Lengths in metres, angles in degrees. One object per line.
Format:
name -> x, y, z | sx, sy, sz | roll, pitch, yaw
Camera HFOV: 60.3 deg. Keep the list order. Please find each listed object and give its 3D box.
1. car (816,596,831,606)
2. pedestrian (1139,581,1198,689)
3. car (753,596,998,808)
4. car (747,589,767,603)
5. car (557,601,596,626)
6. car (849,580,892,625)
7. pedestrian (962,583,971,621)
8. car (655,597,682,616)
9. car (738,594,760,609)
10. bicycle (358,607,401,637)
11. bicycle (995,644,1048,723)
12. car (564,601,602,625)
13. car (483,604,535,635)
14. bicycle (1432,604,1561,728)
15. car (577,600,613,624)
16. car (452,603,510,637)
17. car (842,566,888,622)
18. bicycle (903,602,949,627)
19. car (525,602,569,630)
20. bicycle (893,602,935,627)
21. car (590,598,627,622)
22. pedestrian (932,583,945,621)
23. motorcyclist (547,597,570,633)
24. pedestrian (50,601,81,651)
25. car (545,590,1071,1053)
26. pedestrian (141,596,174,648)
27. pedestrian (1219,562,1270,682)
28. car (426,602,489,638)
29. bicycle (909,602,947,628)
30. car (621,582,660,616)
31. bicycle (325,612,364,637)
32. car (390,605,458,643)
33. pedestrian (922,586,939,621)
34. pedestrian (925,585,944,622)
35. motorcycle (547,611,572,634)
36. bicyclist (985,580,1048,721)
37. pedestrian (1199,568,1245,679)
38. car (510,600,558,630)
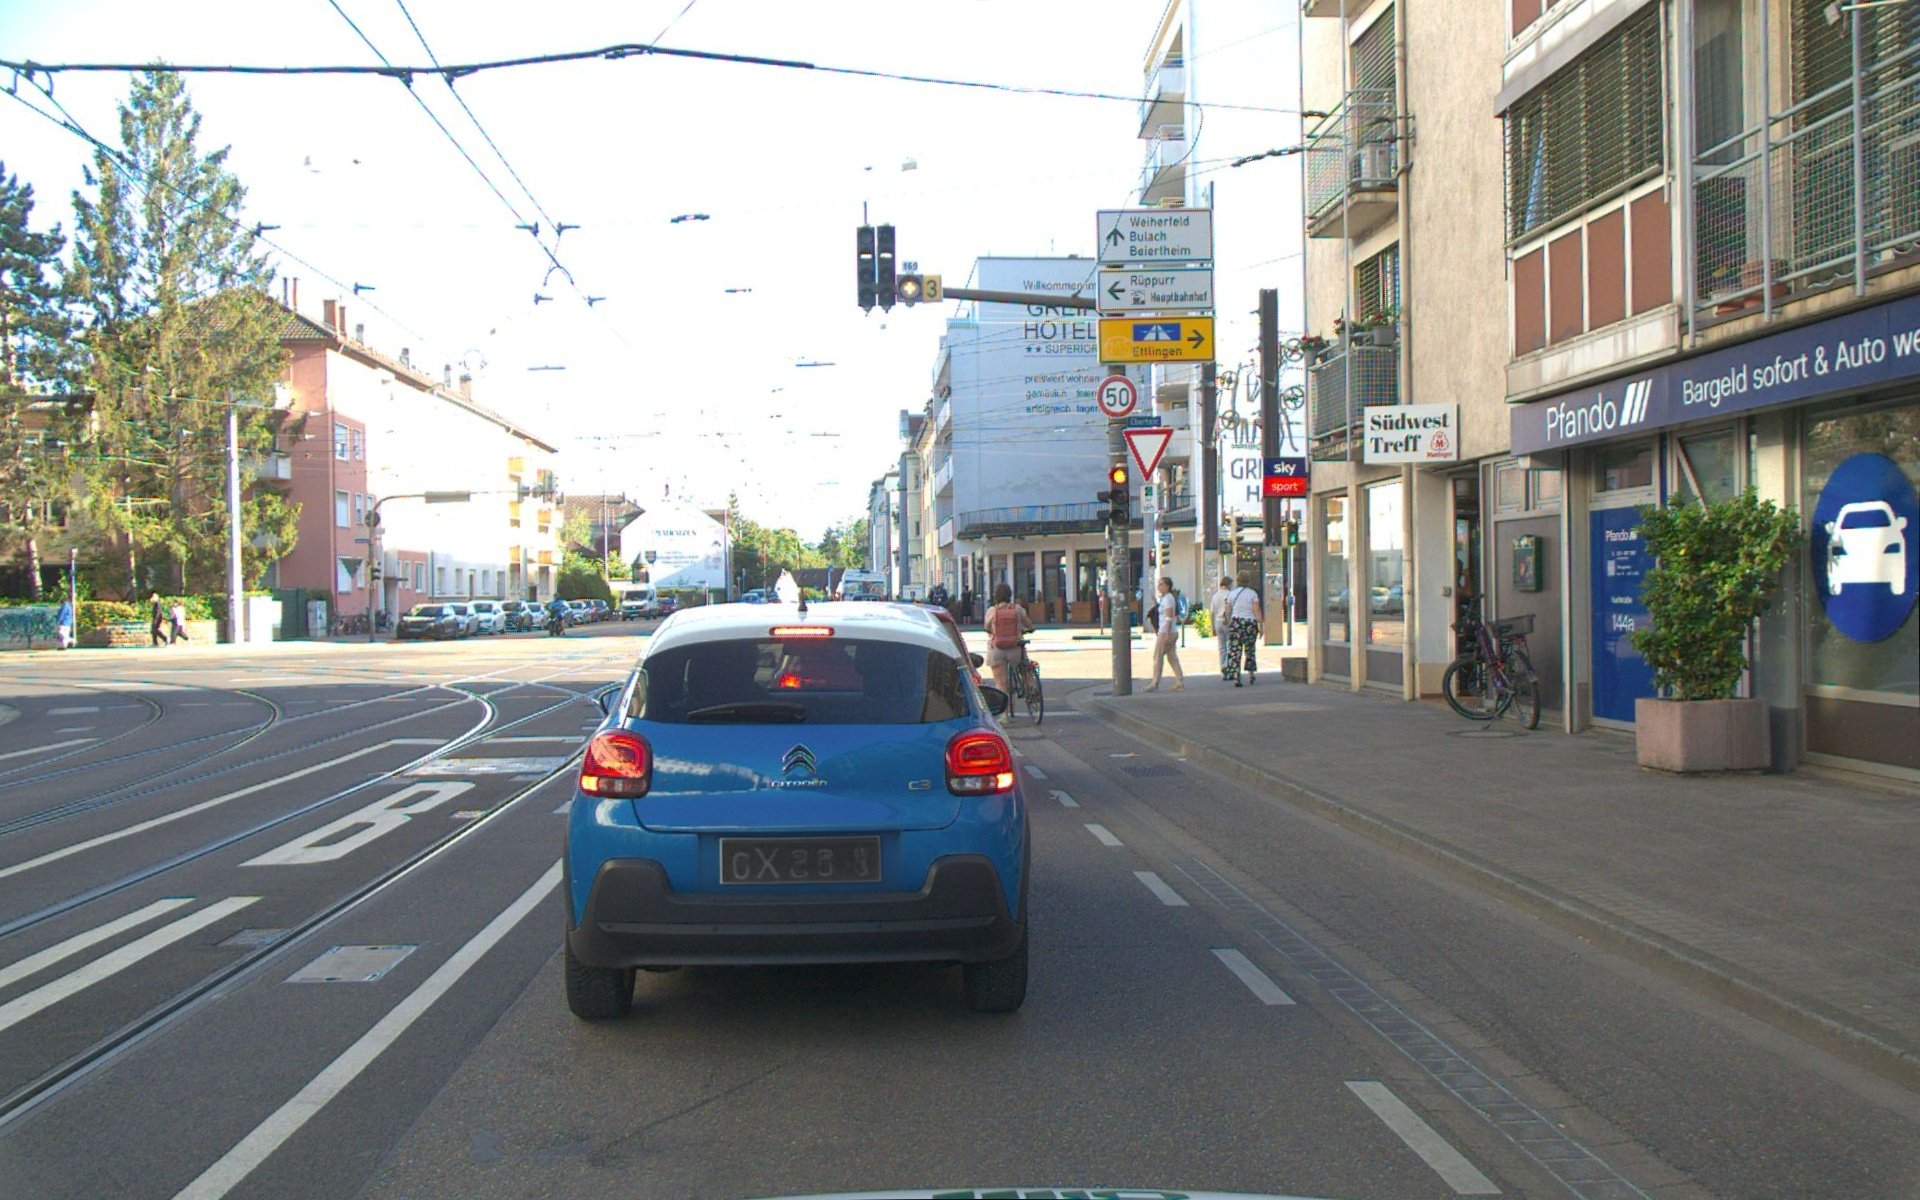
car -> -17.819, 0.087, 216.316 | 1.722, 1.281, 3.826 | -1, 0, -8
pedestrian -> 3.057, 0.504, 24.267 | 0.535, 1.534, 0.605 | -4, 2, -30
car -> -0.620, 0.710, 13.629 | 1.703, 1.445, 3.999 | -1, 0, -1
car -> -22.965, -0.434, 187.094 | 1.982, 1.552, 3.996 | -1, 0, -5
car -> -24.475, 0.849, 105.693 | 1.874, 1.523, 3.996 | -1, 0, -5
car -> -3.670, 0.100, 67.469 | 1.698, 1.780, 3.211 | 0, 0, -4
pedestrian -> 0.275, 0.076, 70.152 | 0.279, 1.583, 0.304 | -1, 0, -10
car -> -25.382, 0.567, 144.099 | 1.982, 1.552, 3.996 | -1, 0, -5
car -> -21.541, 0.153, 169.075 | 1.982, 1.552, 3.996 | -1, 0, -5
bicycle -> -25.708, 0.961, 73.297 | 0.831, 1.247, 3.302 | -1, 0, -2
bicycle -> 0.753, 1.014, 20.550 | 0.489, 0.879, 1.748 | -1, 0, -3
car -> -25.202, 0.858, 110.681 | 1.874, 1.523, 3.996 | -1, 0, -5
car -> -23.327, 0.985, 85.597 | 1.874, 1.523, 3.996 | -1, 0, -5
bicycle -> 5.110, 0.598, 15.862 | 0.519, 1.091, 1.809 | -1, 0, -4
car -> -25.520, 0.812, 115.769 | 1.833, 1.601, 3.997 | -1, 0, -4
car -> -22.788, 0.916, 78.823 | 1.874, 1.523, 3.996 | -1, 0, -5
car -> -4.167, -0.246, 72.377 | 1.954, 2.366, 3.997 | 0, 0, -4
bicycle -> -1.367, 0.596, 67.028 | 1.835, 0.973, 0.702 | -1, 0, 1
car -> -24.276, 0.909, 97.292 | 1.874, 1.523, 3.996 | -1, 0, -5
bicycle -> -1.902, 0.602, 68.379 | 1.684, 0.973, 0.702 | -1, 0, 1
car -> -25.727, 0.722, 121.192 | 1.990, 1.647, 4.508 | -1, 0, -3
pedestrian -> -0.910, 0.081, 69.927 | 0.482, 1.583, 0.383 | -1, 0, -4
motorcyclist -> -16.224, 0.602, 66.871 | 0.704, 1.402, 0.911 | -1, 0, -1
pedestrian -> -29.962, 0.857, 55.393 | 0.840, 1.654, 0.509 | -1, 0, -34
car -> -0.709, 0.707, 7.405 | 1.710, 1.488, 3.994 | 0, 0, -7
pedestrian -> -27.374, 0.744, 56.406 | 0.831, 1.720, 0.733 | -1, 0, 42
pedestrian -> 4.141, 0.320, 24.114 | 0.530, 1.701, 0.650 | -3, 0, -3
car -> -22.510, 0.885, 74.204 | 1.874, 1.523, 3.996 | -1, 0, -5
bicycle -> -1.263, 0.595, 65.970 | 1.473, 0.973, 0.702 | -1, 0, 1
car -> -22.952, -0.086, 118.959 | 2.164, 2.290, 4.672 | -1, 0, -5
bicycle -> -24.984, 0.985, 67.191 | 0.718, 0.968, 2.596 | -1, 0, -2
car -> -22.151, 0.958, 68.482 | 1.874, 1.458, 3.995 | -1, 0, -6
pedestrian -> -1.328, 0.150, 74.498 | 0.637, 1.583, 0.490 | -1, 0, -23
pedestrian -> -1.123, 0.147, 72.698 | 0.637, 1.583, 0.490 | -1, 0, -23
motorcycle -> -16.231, 0.894, 67.026 | 0.603, 0.879, 1.670 | -1, 0, -1
bicyclist -> 0.682, 0.606, 20.295 | 0.711, 1.674, 0.790 | -1, 0, -1
pedestrian -> 4.146, 0.359, 26.216 | 0.530, 1.701, 0.624 | -3, 2, -3
car -> -23.609, 0.819, 91.731 | 1.874, 1.523, 3.996 | -1, 0, -5
